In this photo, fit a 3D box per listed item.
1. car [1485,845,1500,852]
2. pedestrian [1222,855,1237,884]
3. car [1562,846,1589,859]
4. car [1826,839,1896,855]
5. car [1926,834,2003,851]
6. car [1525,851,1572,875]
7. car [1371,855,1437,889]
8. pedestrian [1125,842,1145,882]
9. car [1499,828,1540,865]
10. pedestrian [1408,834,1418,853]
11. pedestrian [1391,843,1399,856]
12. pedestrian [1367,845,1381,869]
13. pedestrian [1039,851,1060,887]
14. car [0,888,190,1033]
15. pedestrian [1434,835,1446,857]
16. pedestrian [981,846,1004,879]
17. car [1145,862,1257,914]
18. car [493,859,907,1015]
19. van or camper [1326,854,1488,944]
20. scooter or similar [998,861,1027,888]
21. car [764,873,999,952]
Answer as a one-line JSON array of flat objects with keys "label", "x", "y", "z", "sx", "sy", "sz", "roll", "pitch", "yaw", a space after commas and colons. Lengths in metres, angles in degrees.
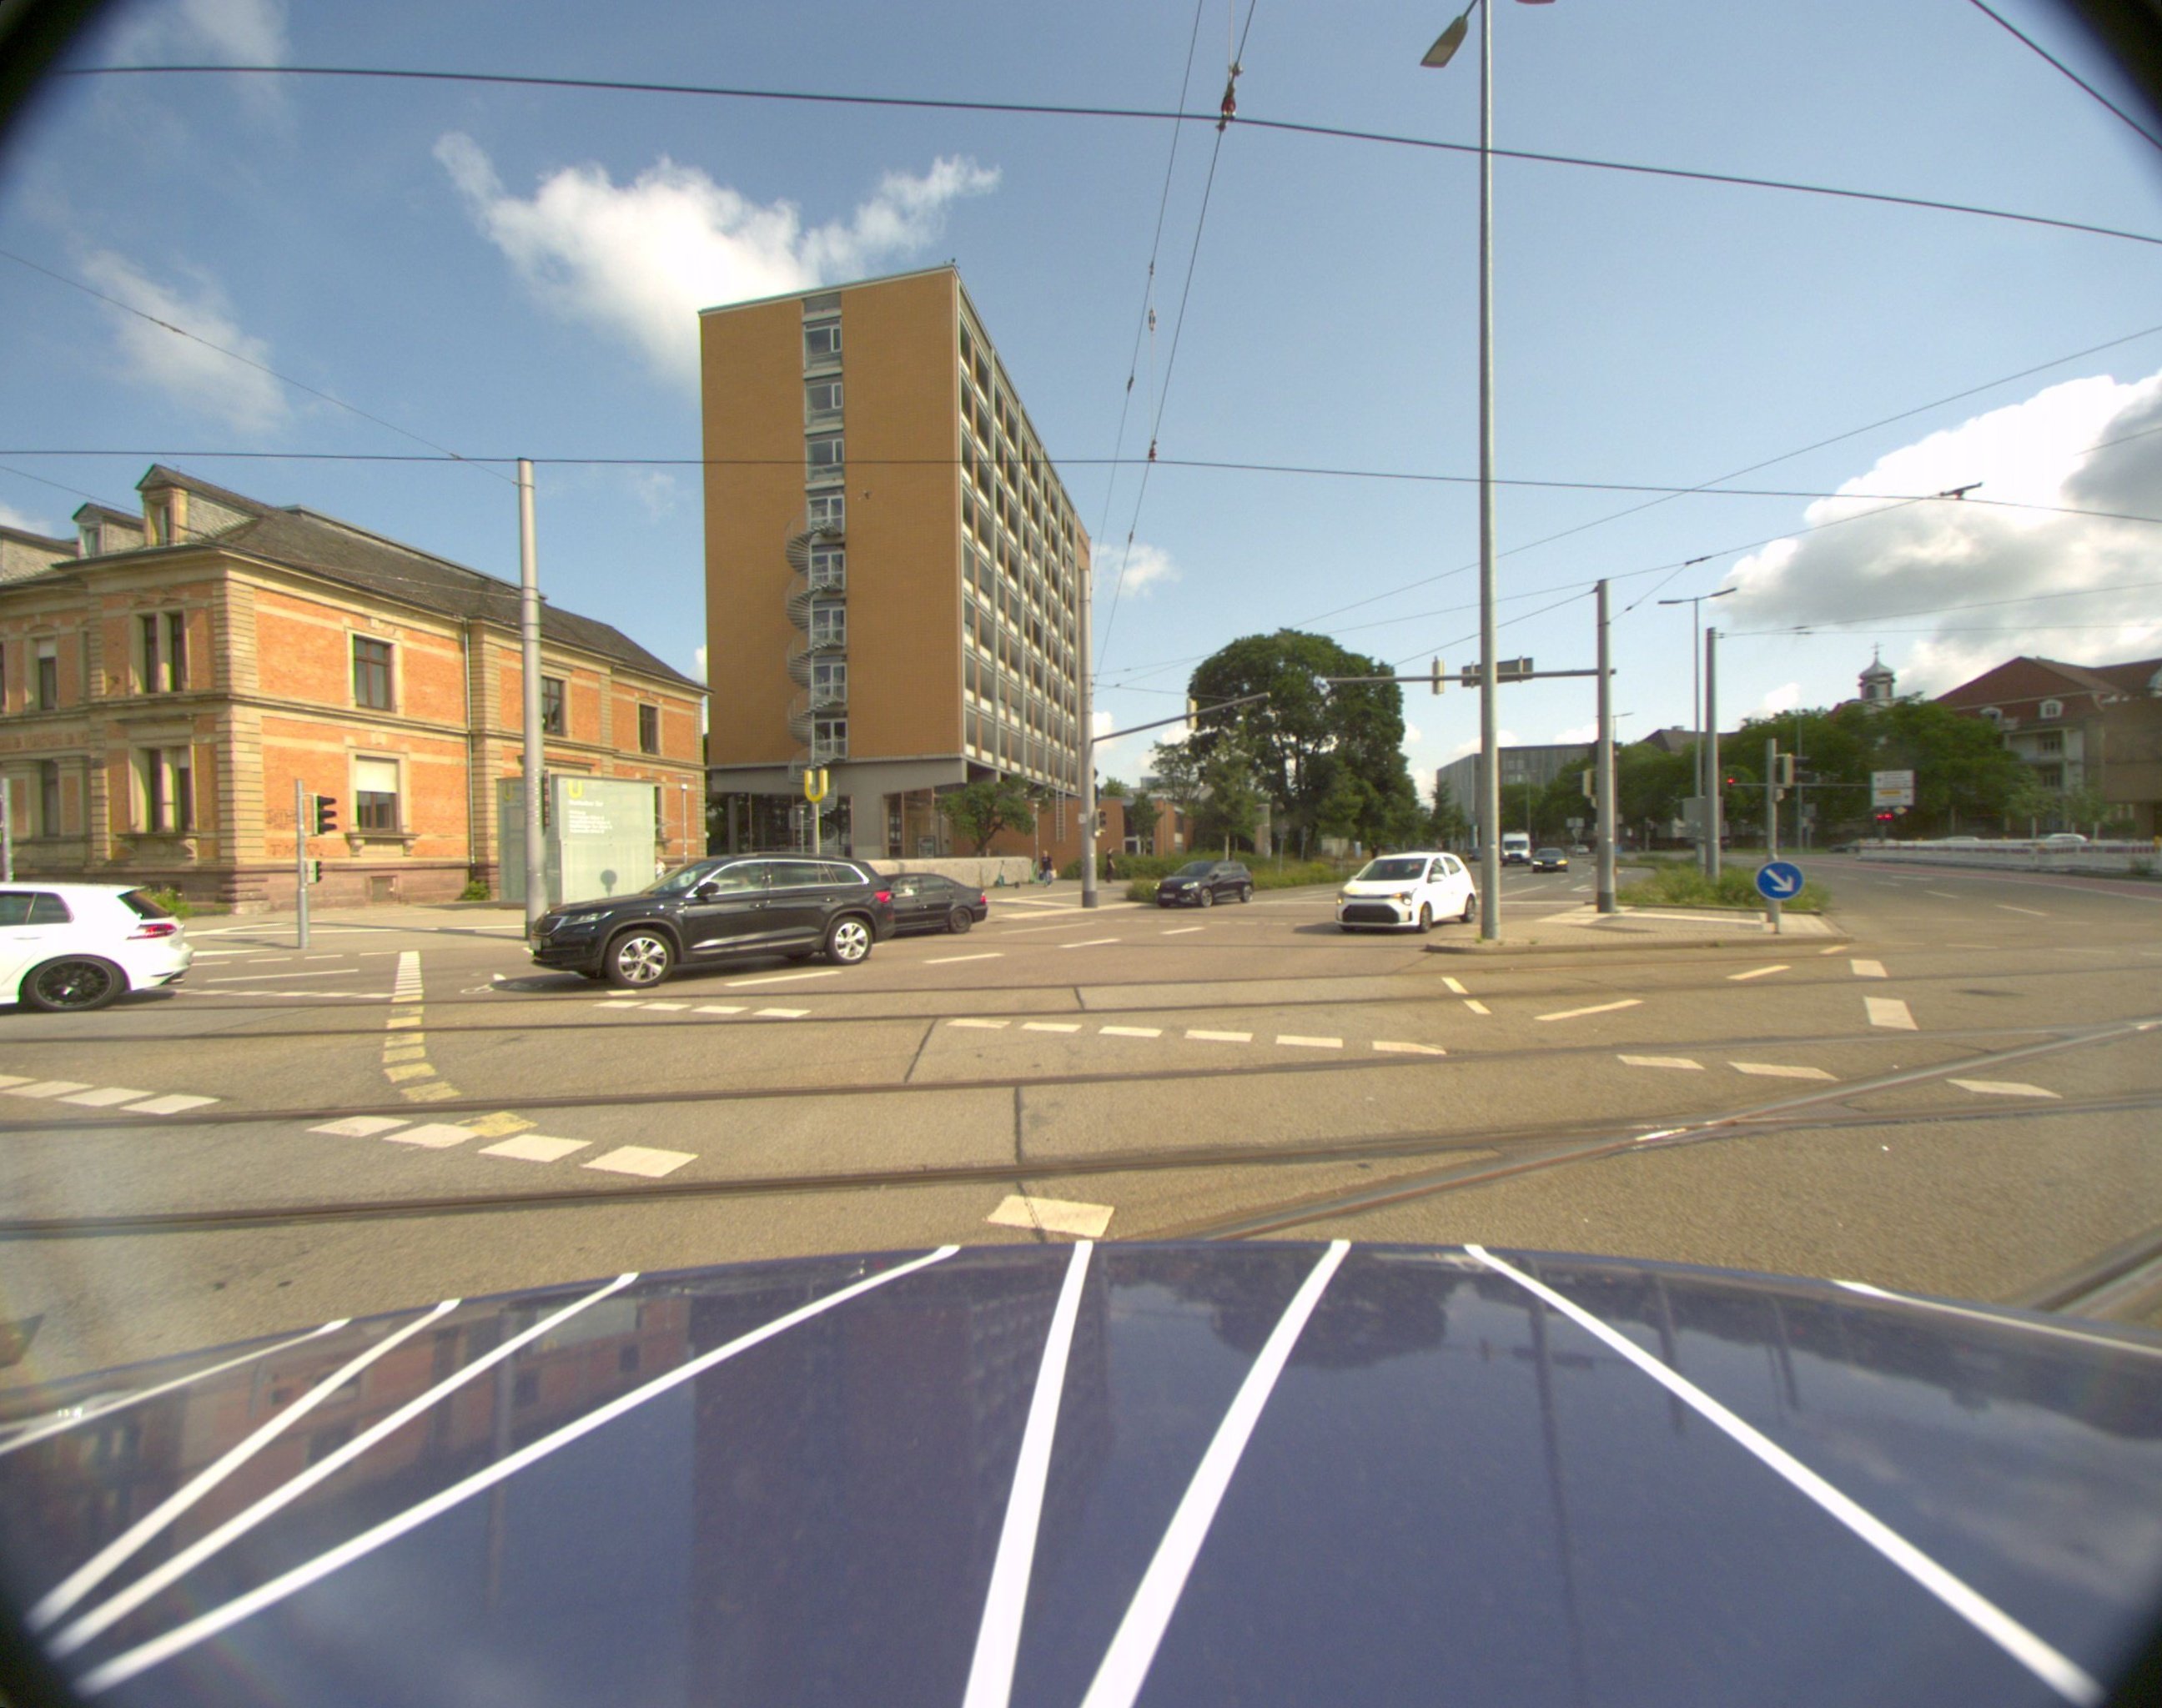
[{"label": "car", "x": 87.905, "y": -1.175, "z": 162.338, "sx": 1.955, "sy": 1.480, "sz": 5.106, "roll": -1, "pitch": 0, "yaw": 17}, {"label": "pedestrian", "x": 8.134, "y": 0.834, "z": 41.564, "sx": 0.582, "sy": 1.512, "sz": 0.478, "roll": -2, "pitch": 5, "yaw": -44}, {"label": "car", "x": 70.628, "y": -0.222, "z": 108.664, "sx": 1.995, "sy": 1.560, "sz": 4.788, "roll": 2, "pitch": 2, "yaw": 18}, {"label": "car", "x": 70.079, "y": -0.629, "z": 68.337, "sx": 4.123, "sy": 1.383, "sz": 1.761, "roll": -1, "pitch": 0, "yaw": 13}, {"label": "car", "x": 77.446, "y": -0.967, "z": 66.654, "sx": 4.123, "sy": 1.383, "sz": 1.761, "roll": -1, "pitch": 0, "yaw": 13}, {"label": "car", "x": 28.419, "y": 0.484, "z": 46.110, "sx": 1.994, "sy": 1.274, "sz": 4.553, "roll": 1, "pitch": 2, "yaw": 37}, {"label": "car", "x": 13.385, "y": 0.711, "z": 31.452, "sx": 1.605, "sy": 1.208, "sz": 3.016, "roll": 2, "pitch": 3, "yaw": 42}, {"label": "pedestrian", "x": 2.854, "y": 0.420, "z": 40.191, "sx": 0.808, "sy": 2.003, "sz": 0.723, "roll": 1, "pitch": 5, "yaw": -11}, {"label": "car", "x": 35.863, "y": -0.588, "z": 62.009, "sx": 2.479, "sy": 2.862, "sz": 6.161, "roll": -1, "pitch": 1, "yaw": 34}, {"label": "pedestrian", "x": 35.605, "y": -1.126, "z": 81.479, "sx": 0.985, "sy": 2.002, "sz": 1.132, "roll": 0, "pitch": 2, "yaw": 25}, {"label": "pedestrian", "x": 49.070, "y": -0.722, "z": 118.717, "sx": 0.985, "sy": 2.002, "sz": 1.132, "roll": -1, "pitch": 1, "yaw": 25}, {"label": "pedestrian", "x": 23.317, "y": 0.239, "z": 60.422, "sx": 0.758, "sy": 1.861, "sz": 0.646, "roll": 6, "pitch": 6, "yaw": 41}, {"label": "pedestrian", "x": -1.417, "y": 0.669, "z": 34.219, "sx": 0.771, "sy": 1.579, "sz": 0.766, "roll": 0, "pitch": 1, "yaw": 13}, {"label": "car", "x": -12.287, "y": 1.108, "z": 7.633, "sx": 1.680, "sy": 1.437, "sz": 4.242, "roll": -1, "pitch": -2, "yaw": 43}, {"label": "pedestrian", "x": 32.875, "y": -0.761, "z": 69.642, "sx": 0.985, "sy": 2.002, "sz": 1.132, "roll": 0, "pitch": 2, "yaw": 25}, {"label": "pedestrian", "x": -4.440, "y": 0.429, "z": 37.944, "sx": 0.939, "sy": 1.580, "sz": 0.763, "roll": 2, "pitch": 4, "yaw": -18}, {"label": "car", "x": 3.958, "y": 1.030, "z": 24.659, "sx": 1.709, "sy": 1.445, "sz": 4.008, "roll": -1, "pitch": 0, "yaw": 40}, {"label": "car", "x": -4.970, "y": 0.917, "z": 10.480, "sx": 1.994, "sy": 1.658, "sz": 4.694, "roll": -2, "pitch": -2, "yaw": 42}, {"label": "van or camper", "x": 6.597, "y": 0.815, "z": 15.152, "sx": 1.624, "sy": 1.467, "sz": 4.008, "roll": -3, "pitch": -1, "yaw": 44}, {"label": "scooter or similar", "x": -2.995, "y": 0.900, "z": 33.117, "sx": 1.187, "sy": 1.124, "sz": 0.403, "roll": 1, "pitch": 3, "yaw": -10}, {"label": "car", "x": -4.155, "y": 1.136, "z": 16.365, "sx": 1.994, "sy": 1.389, "sz": 4.518, "roll": -1, "pitch": -1, "yaw": 44}]
